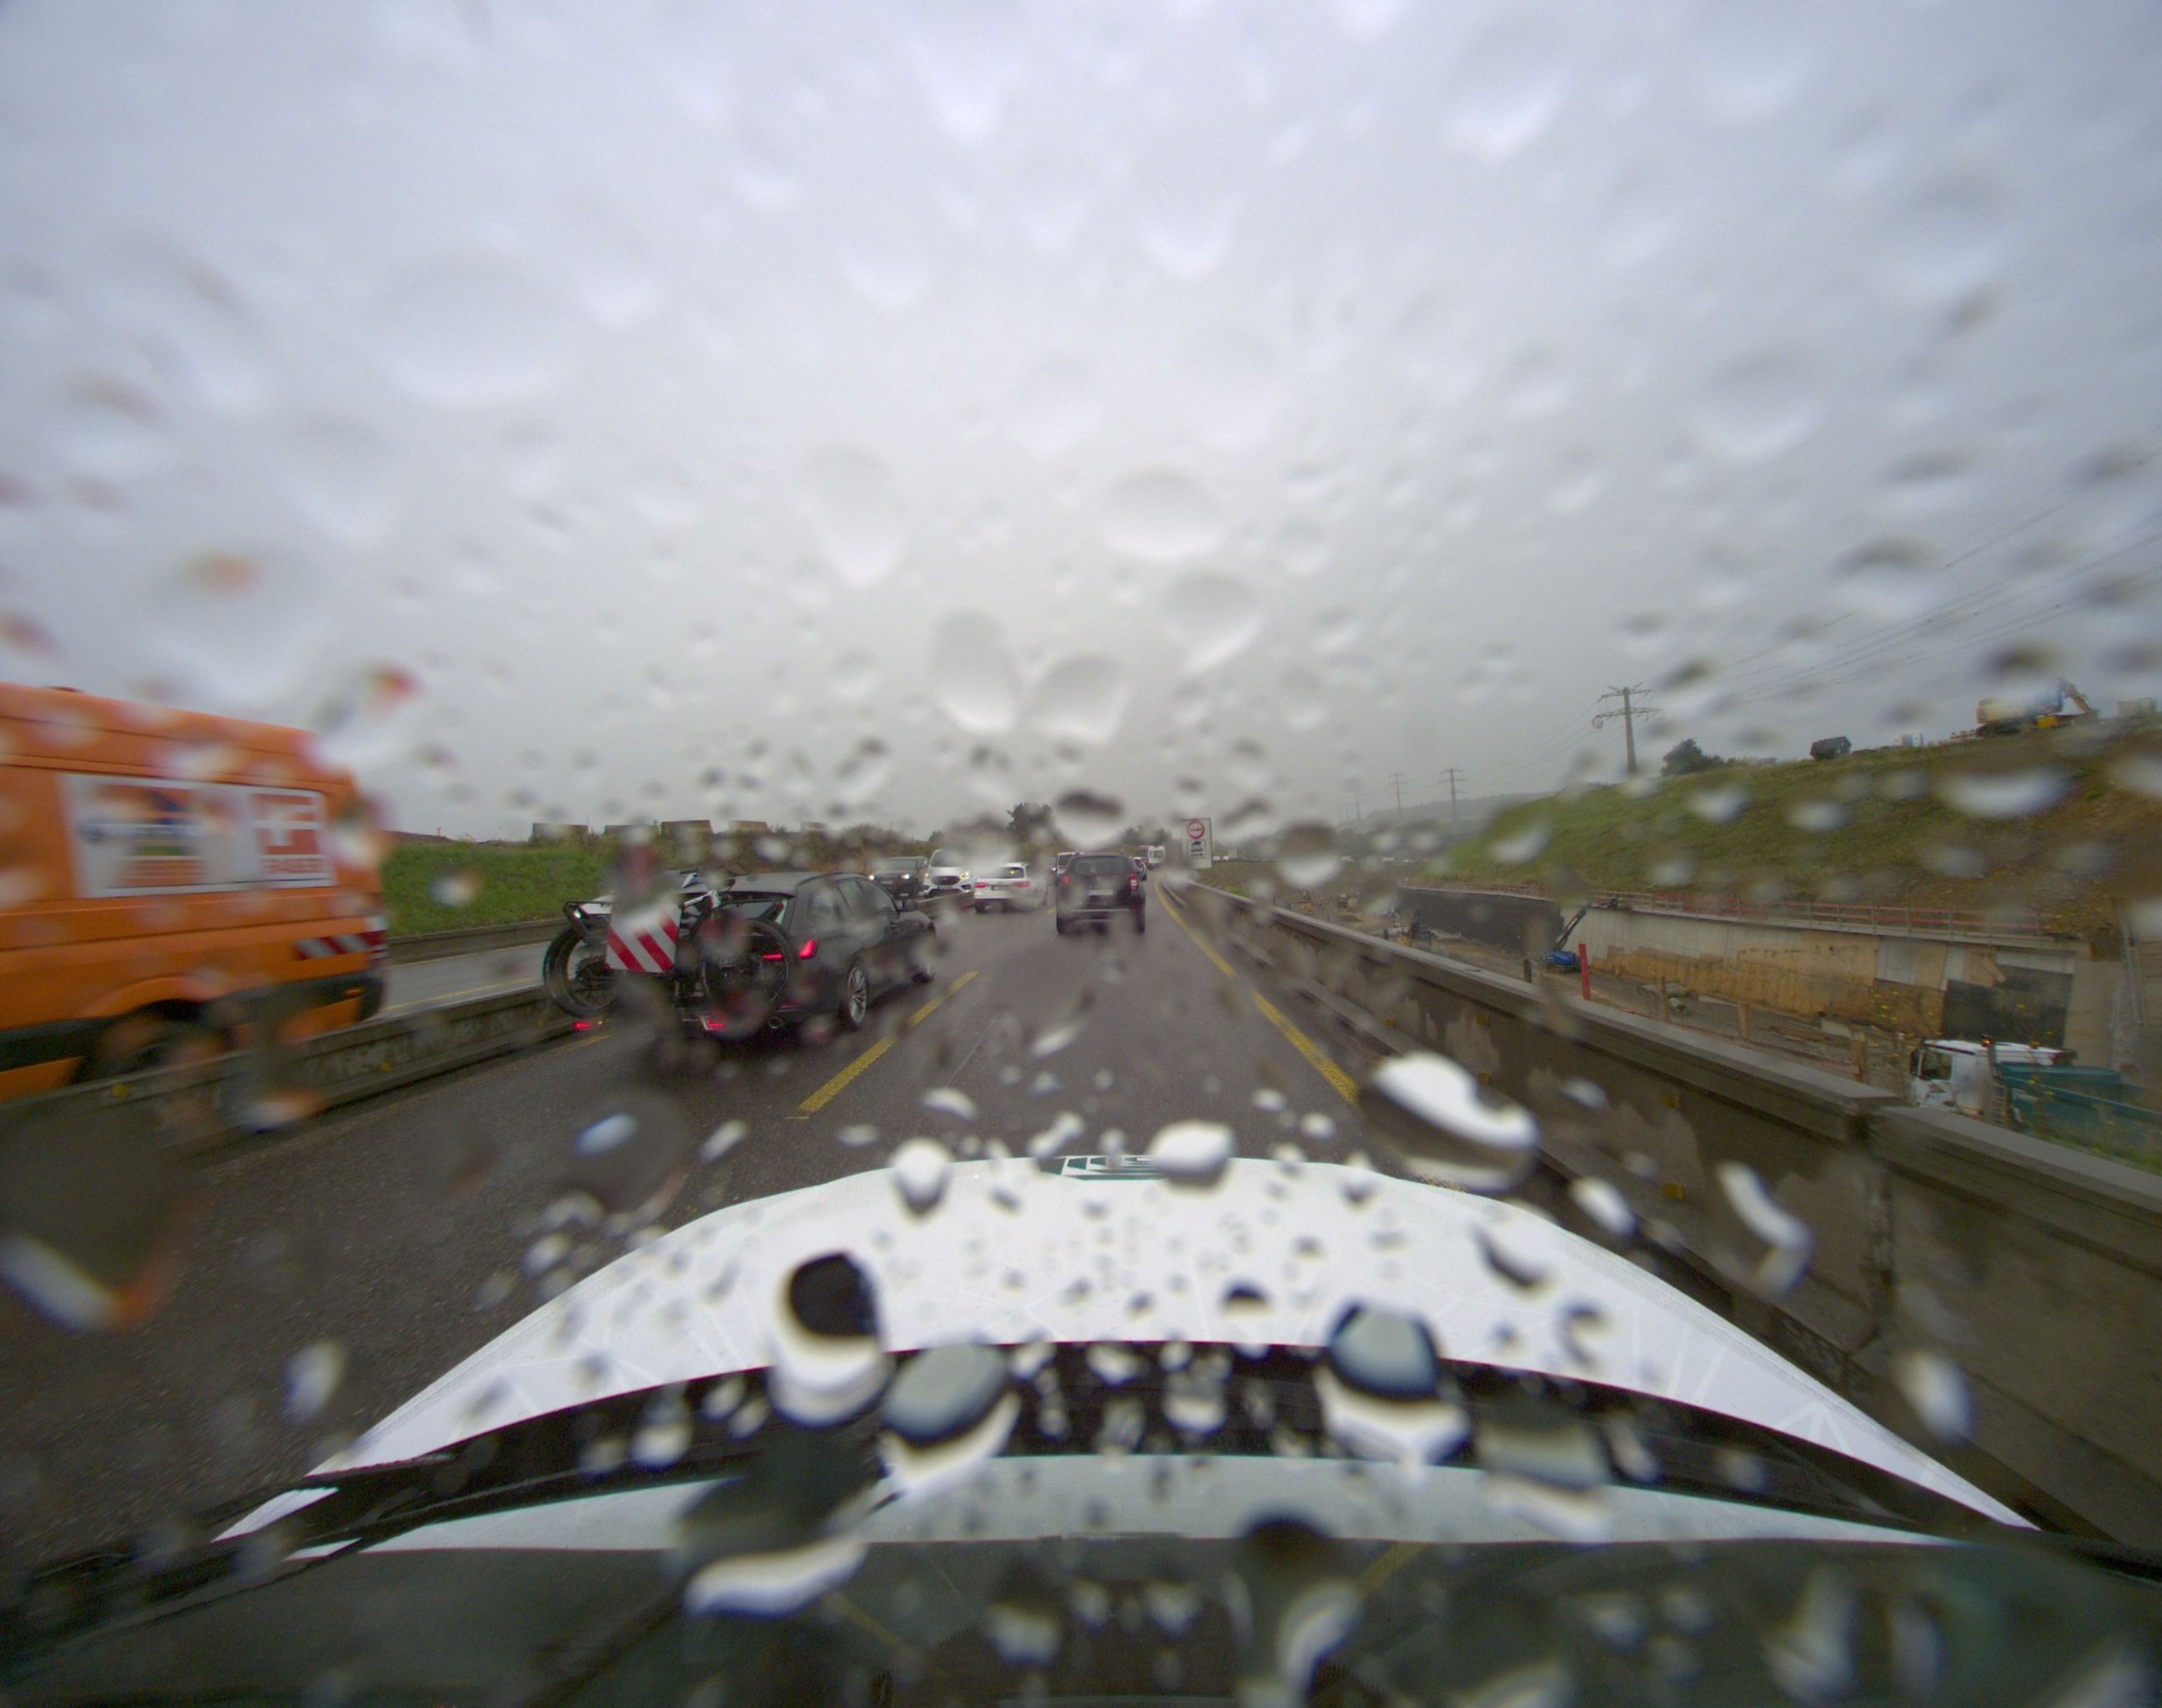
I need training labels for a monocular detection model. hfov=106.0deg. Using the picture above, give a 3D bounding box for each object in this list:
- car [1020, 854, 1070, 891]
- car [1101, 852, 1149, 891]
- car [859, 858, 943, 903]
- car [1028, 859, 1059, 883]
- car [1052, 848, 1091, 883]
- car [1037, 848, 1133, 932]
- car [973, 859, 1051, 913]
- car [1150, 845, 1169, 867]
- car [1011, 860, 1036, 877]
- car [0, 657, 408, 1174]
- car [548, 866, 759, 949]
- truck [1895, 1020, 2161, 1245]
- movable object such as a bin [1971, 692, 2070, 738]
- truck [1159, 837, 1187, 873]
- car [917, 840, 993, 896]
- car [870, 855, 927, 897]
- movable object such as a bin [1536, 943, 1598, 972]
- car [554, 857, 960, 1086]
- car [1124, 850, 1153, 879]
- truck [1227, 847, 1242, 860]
[{"bbox_3d":[-1.544,0.803,36.024,1.819,1.499,4.003,-1,-1,3],"label":"car"},{"bbox_3d":[1.821,0.706,33.688,1.819,1.499,4.003,-1,-1,3],"label":"car"},{"bbox_3d":[-7.412,1.039,34.109,1.984,1.686,4.976,-1,0,5],"label":"car"},{"bbox_3d":[-2.743,1.255,60.584,1.814,1.639,4.489,-1,0,4],"label":"car"},{"bbox_3d":[-0.468,0.615,44.845,1.818,1.815,4.003,-1,-1,3],"label":"car"},{"bbox_3d":[0.181,0.718,17.579,1.819,1.591,4.003,-1,-1,3],"label":"car"},{"bbox_3d":[-2.029,0.947,24.997,1.819,1.499,4.003,-1,-1,3],"label":"car"},{"bbox_3d":[9.060,0.236,93.459,1.815,2.437,4.168,-1,-1,9],"label":"car"},{"bbox_3d":[-4.924,1.260,70.457,1.573,1.383,4.005,-1,0,4],"label":"car"},{"bbox_3d":[-6.450,0.320,2.910,2.046,2.577,7.024,-1,0,2],"label":"car"},{"bbox_3d":[-9.016,1.055,17.725,1.985,1.501,4.539,-1,0,3],"label":"car"},{"bbox_3d":[23.948,6.369,18.391,2.716,3.491,9.079,-1,-1,6],"label":"truck"},{"bbox_3d":[63.804,-9.429,55.422,2.415,2.443,3.979,-1,1,9],"label":"movable object such as a bin"},{"bbox_3d":[13.789,0.168,121.127,3.523,5.077,10.467,-1,-1,9],"label":"truck"},{"bbox_3d":[-4.838,0.497,32.000,1.986,1.999,4.971,-1,0,2],"label":"car"},{"bbox_3d":[-7.435,0.865,33.434,1.525,1.601,3.168,-1,0,2],"label":"car"},{"bbox_3d":[39.728,8.437,66.669,2.008,2.014,3.799,3,-4,-35],"label":"movable object such as a bin"},{"bbox_3d":[-2.731,0.851,8.602,1.727,1.462,5.634,-1,1,3],"label":"car"},{"bbox_3d":[3.825,0.698,53.828,1.818,1.815,4.005,-1,-1,5],"label":"car"},{"bbox_3d":[44.096,-0.196,233.634,3.445,3.715,8.454,-2,0,17],"label":"truck"}]
